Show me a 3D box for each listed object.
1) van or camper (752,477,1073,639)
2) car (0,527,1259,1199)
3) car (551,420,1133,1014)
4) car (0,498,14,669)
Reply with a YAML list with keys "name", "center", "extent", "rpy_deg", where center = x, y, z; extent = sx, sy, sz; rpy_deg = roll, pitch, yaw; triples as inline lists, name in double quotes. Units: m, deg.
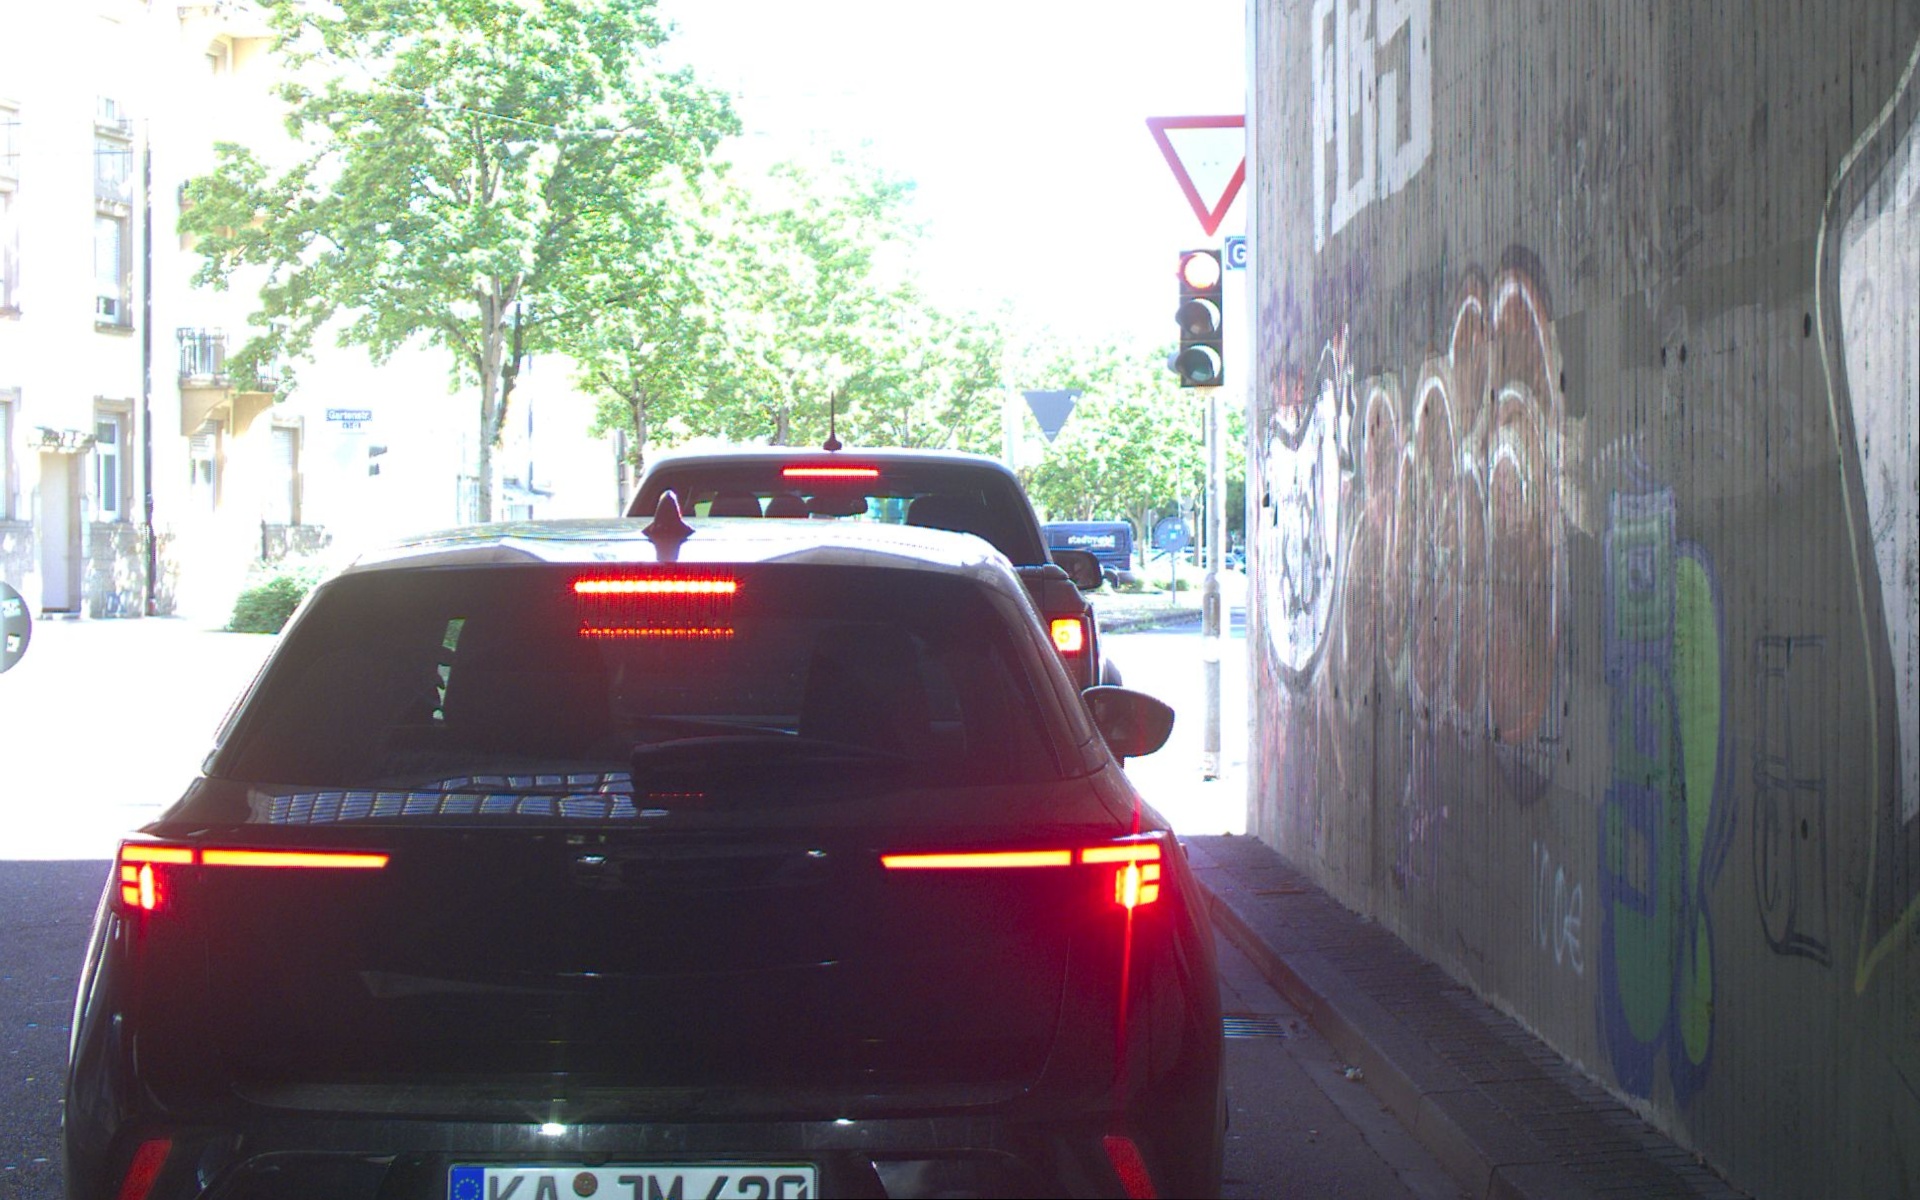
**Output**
- name: "van or camper"
  center: [-0.573, -0.539, 44.092]
  extent: [3.878, 2.007, 2.000]
  rpy_deg: [0, 1, 7]
- name: "car"
  center: [-0.493, 0.619, 6.680]
  extent: [1.753, 1.493, 4.000]
  rpy_deg: [1, 1, 0]
- name: "car"
  center: [-0.384, 0.324, 12.651]
  extent: [1.786, 1.827, 3.961]
  rpy_deg: [1, 1, -1]
- name: "car"
  center: [-11.459, -0.115, 32.340]
  extent: [4.577, 1.635, 2.000]
  rpy_deg: [-1, 2, -2]
